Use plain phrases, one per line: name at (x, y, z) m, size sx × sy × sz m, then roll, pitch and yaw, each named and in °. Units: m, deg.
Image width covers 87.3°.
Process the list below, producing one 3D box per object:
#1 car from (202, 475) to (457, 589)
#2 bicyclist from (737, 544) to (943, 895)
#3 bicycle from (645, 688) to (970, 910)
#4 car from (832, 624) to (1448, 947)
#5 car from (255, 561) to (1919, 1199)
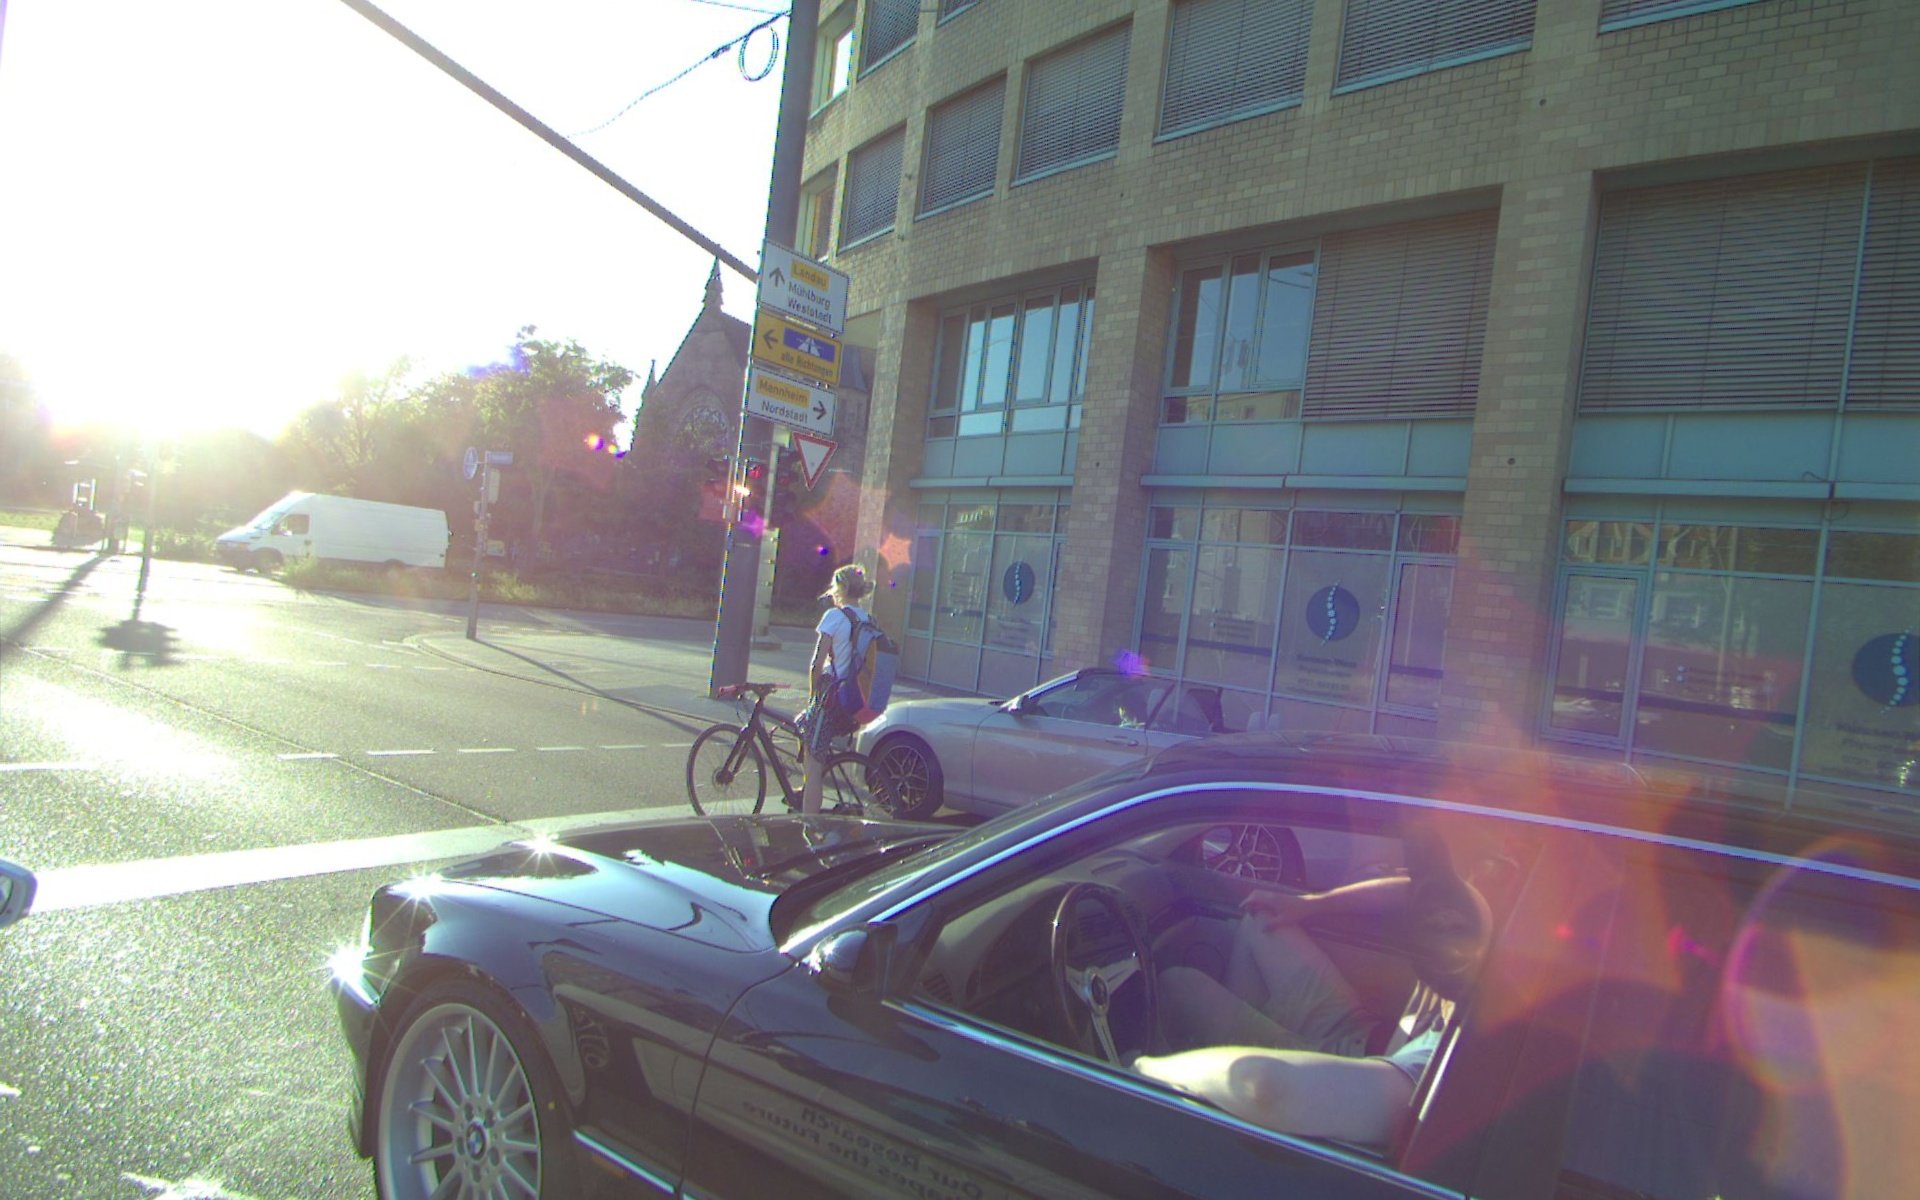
car at (-21.290, -2.179, 34.448) m, size 2.059 × 2.862 × 7.017 m, roll 7°, pitch 0°, yaw 33°
bicyclist at (-0.693, 0.655, 5.862) m, size 0.764 × 1.843 × 0.634 m, roll 7°, pitch 1°, yaw 30°
bicycle at (-0.937, 1.101, 5.972) m, size 1.838 × 0.884 × 0.634 m, roll 7°, pitch 0°, yaw 30°
car at (1.260, 1.184, 7.679) m, size 4.158 × 1.401 × 1.746 m, roll 7°, pitch -1°, yaw 32°
car at (0.885, 0.930, 2.009) m, size 4.661 × 1.402 × 1.997 m, roll 7°, pitch -1°, yaw 32°
